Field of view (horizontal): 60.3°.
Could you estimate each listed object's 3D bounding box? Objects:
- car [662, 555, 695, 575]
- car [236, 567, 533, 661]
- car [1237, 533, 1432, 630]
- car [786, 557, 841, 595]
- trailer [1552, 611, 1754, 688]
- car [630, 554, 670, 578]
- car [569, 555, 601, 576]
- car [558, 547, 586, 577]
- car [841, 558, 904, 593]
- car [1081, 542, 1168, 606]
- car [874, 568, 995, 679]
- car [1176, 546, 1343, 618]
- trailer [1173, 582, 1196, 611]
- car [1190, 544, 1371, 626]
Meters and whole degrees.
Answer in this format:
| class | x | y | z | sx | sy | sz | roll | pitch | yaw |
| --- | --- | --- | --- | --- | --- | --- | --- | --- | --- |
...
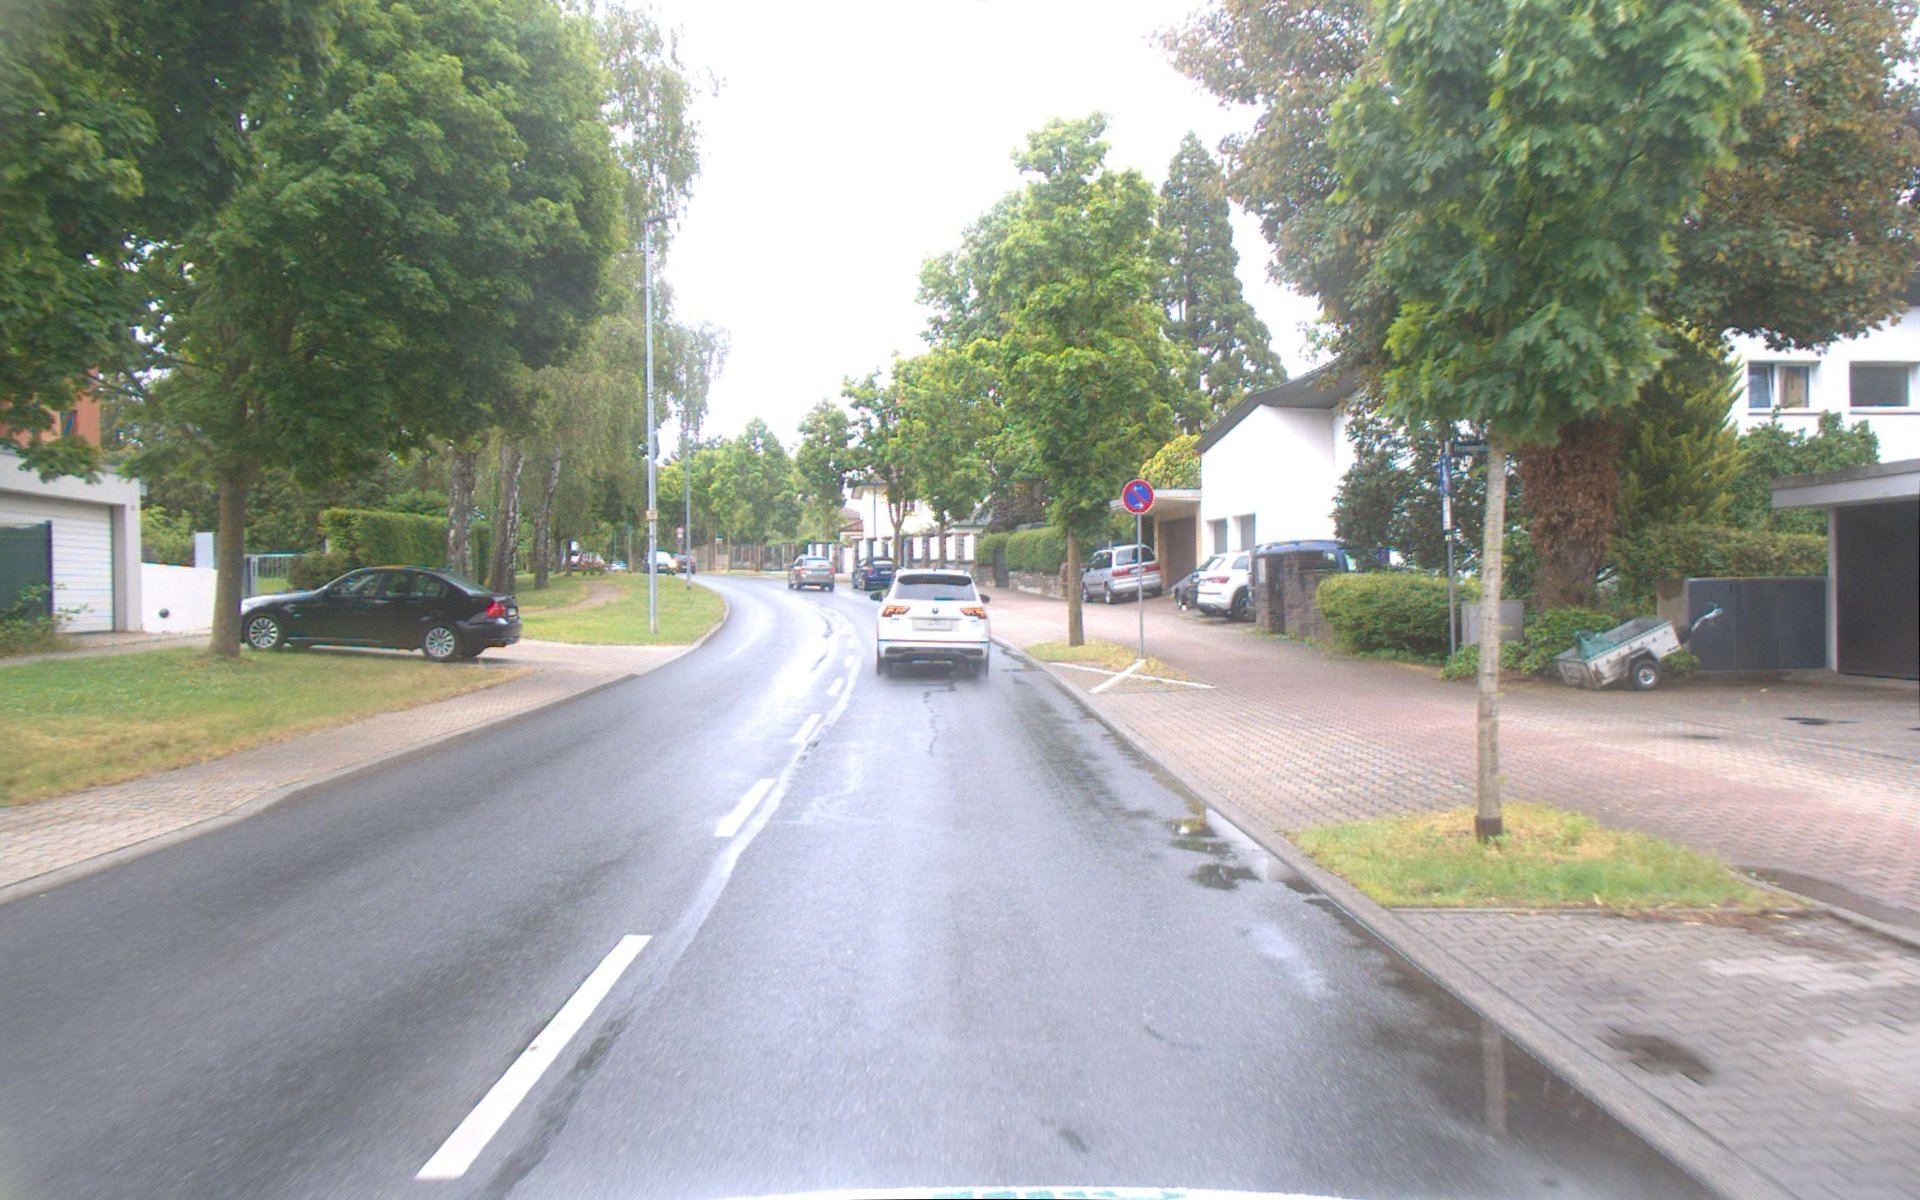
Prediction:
| class | x | y | z | sx | sy | sz | roll | pitch | yaw |
| --- | --- | --- | --- | --- | --- | --- | --- | --- | --- |
| car | -20.304 | -2.533 | 119.232 | 1.619 | 1.452 | 3.975 | 1 | 1 | -21 |
| car | -9.141 | 0.209 | 26.468 | 4.130 | 1.386 | 1.690 | 1 | 0 | 3 |
| car | 8.441 | -0.437 | 37.474 | 3.910 | 2.048 | 1.827 | 1 | 2 | -6 |
| car | -6.444 | -1.023 | 72.392 | 1.740 | 1.578 | 3.984 | 0 | -1 | -15 |
| trailer | 8.766 | 0.608 | 21.022 | 2.000 | 0.899 | 1.364 | 1 | 0 | 1 |
| car | -19.245 | -2.121 | 102.644 | 1.741 | 1.452 | 3.975 | 1 | 1 | -21 |
| car | -27.212 | -2.485 | 119.975 | 1.741 | 1.452 | 3.975 | 1 | 1 | -21 |
| car | -32.425 | -3.161 | 138.008 | 1.741 | 2.428 | 3.975 | 1 | 1 | -21 |
| car | -3.827 | -1.097 | 71.940 | 1.618 | 1.452 | 3.976 | 1 | 1 | -20 |
| car | 5.281 | -0.884 | 53.495 | 1.790 | 1.732 | 3.995 | -9 | 3 | -6 |
| car | -0.432 | 0.339 | 27.223 | 1.827 | 1.679 | 3.999 | 0 | 1 | -1 |
| car | 7.740 | -0.480 | 42.955 | 3.910 | 1.738 | 1.827 | 1 | 2 | -6 |
| trailer | 6.199 | -0.098 | 45.680 | 0.409 | 0.770 | 1.366 | 1 | 0 | -1 |
| car | 7.697 | -0.374 | 39.901 | 3.910 | 1.843 | 1.827 | 1 | 2 | -6 |
